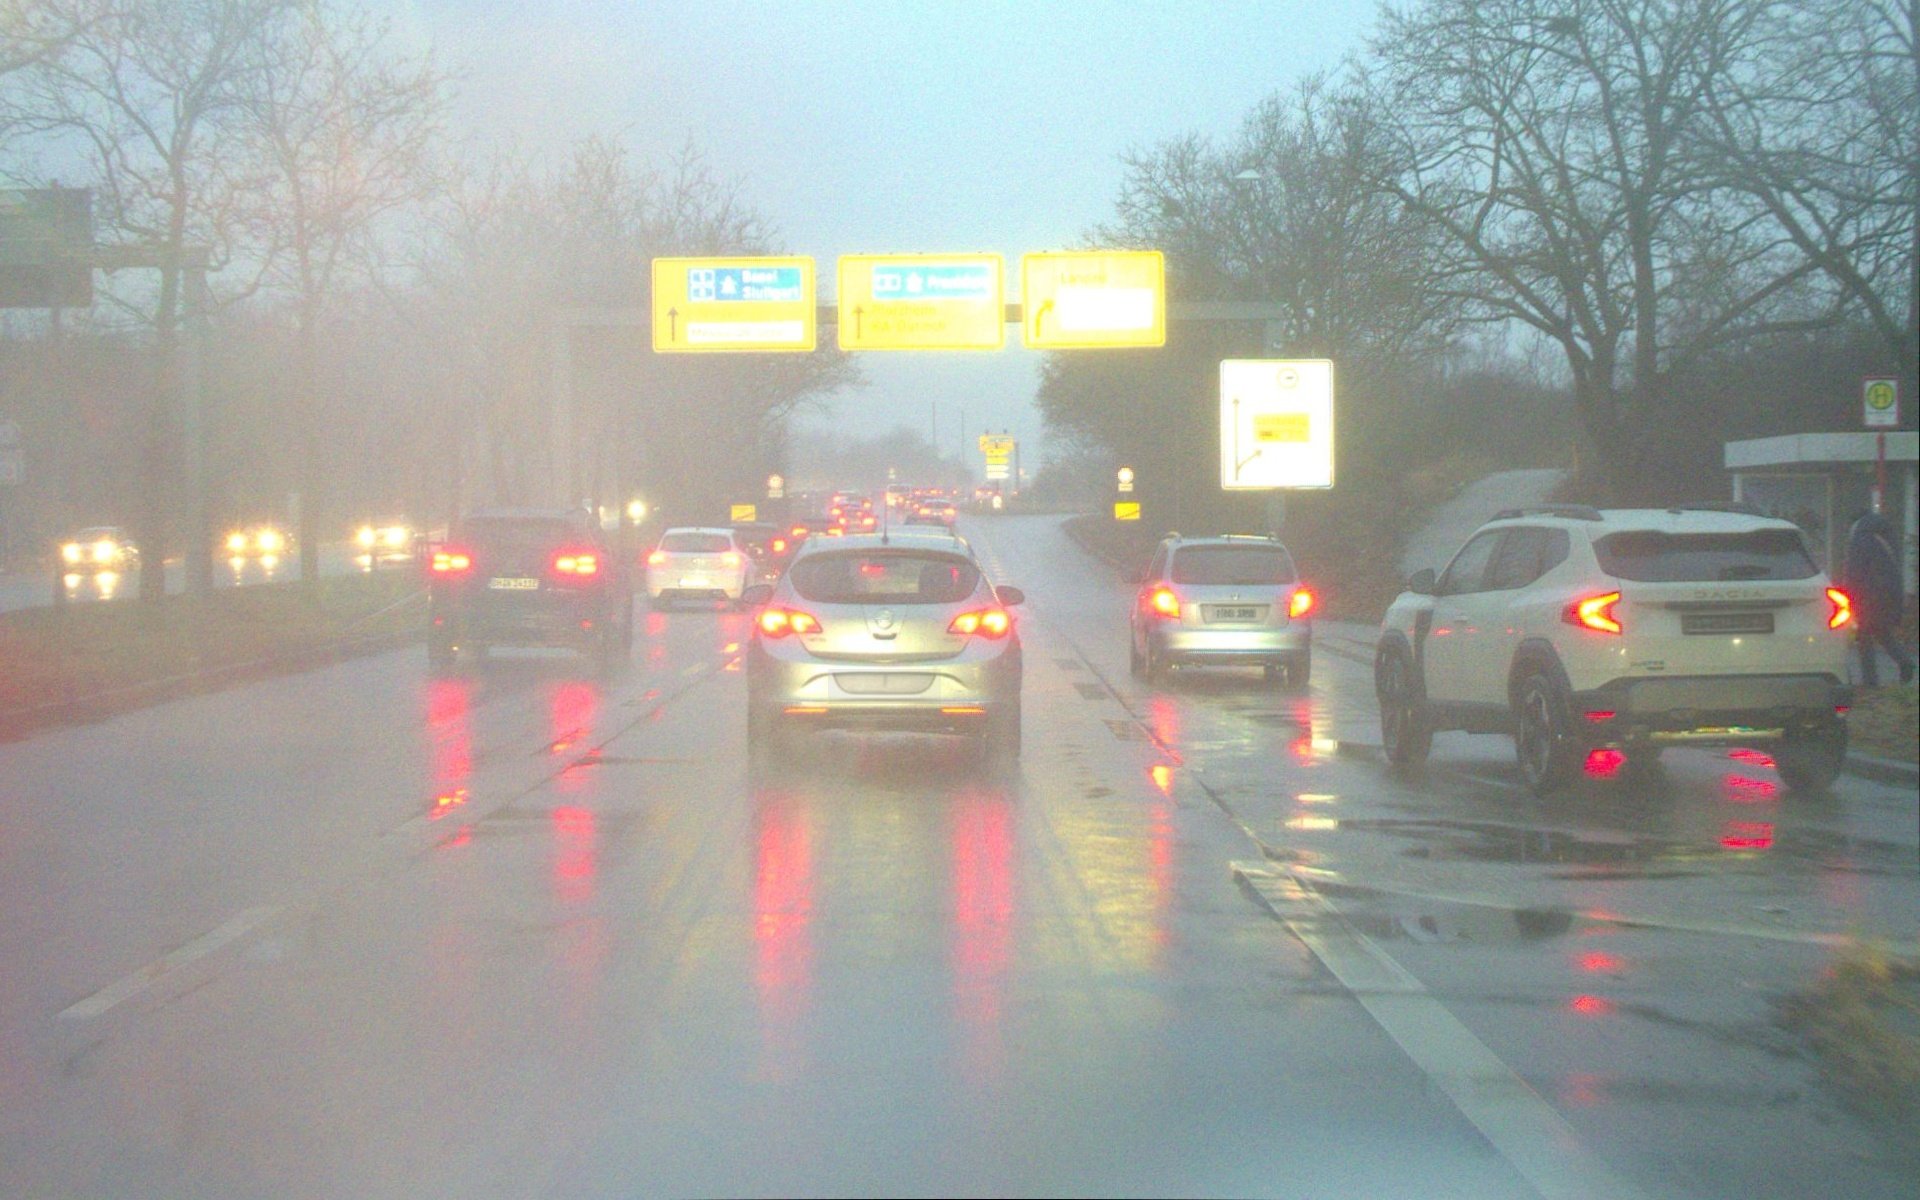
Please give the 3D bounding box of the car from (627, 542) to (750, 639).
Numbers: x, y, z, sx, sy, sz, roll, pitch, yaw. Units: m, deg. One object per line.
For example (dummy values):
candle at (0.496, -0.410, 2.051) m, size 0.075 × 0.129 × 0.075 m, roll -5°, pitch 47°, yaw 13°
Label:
car at (-4.744, -0.196, 60.511) m, size 1.822 × 1.642 × 4.000 m, roll 0°, pitch 1°, yaw 0°

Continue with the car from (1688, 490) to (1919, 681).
car at (8.293, -0.181, 31.617) m, size 1.966 × 1.614 × 4.548 m, roll -2°, pitch 1°, yaw -3°

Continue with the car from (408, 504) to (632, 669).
car at (-4.597, -0.172, 36.428) m, size 1.822 × 1.642 × 4.000 m, roll 0°, pitch 1°, yaw 0°

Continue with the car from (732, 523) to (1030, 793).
car at (-0.479, 0.340, 23.567) m, size 1.822 × 1.642 × 4.466 m, roll 1°, pitch 0°, yaw 0°

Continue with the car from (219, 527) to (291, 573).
car at (-28.913, -2.056, 141.105) m, size 1.993 × 1.845 × 4.426 m, roll 1°, pitch 1°, yaw 1°

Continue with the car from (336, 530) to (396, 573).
car at (-23.023, -1.887, 133.418) m, size 1.785 × 1.621 × 3.575 m, roll 0°, pitch 1°, yaw -1°

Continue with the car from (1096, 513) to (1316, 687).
car at (2.461, -0.020, 35.335) m, size 1.933 × 1.642 × 4.466 m, roll 1°, pitch 0°, yaw 0°

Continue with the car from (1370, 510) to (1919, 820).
car at (3.920, 0.302, 20.358) m, size 1.815 × 1.612 × 4.412 m, roll -1°, pitch 1°, yaw -9°

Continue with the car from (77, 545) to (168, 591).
car at (-28.000, -1.072, 115.094) m, size 1.993 × 1.472 × 4.072 m, roll 1°, pitch 1°, yaw 1°
